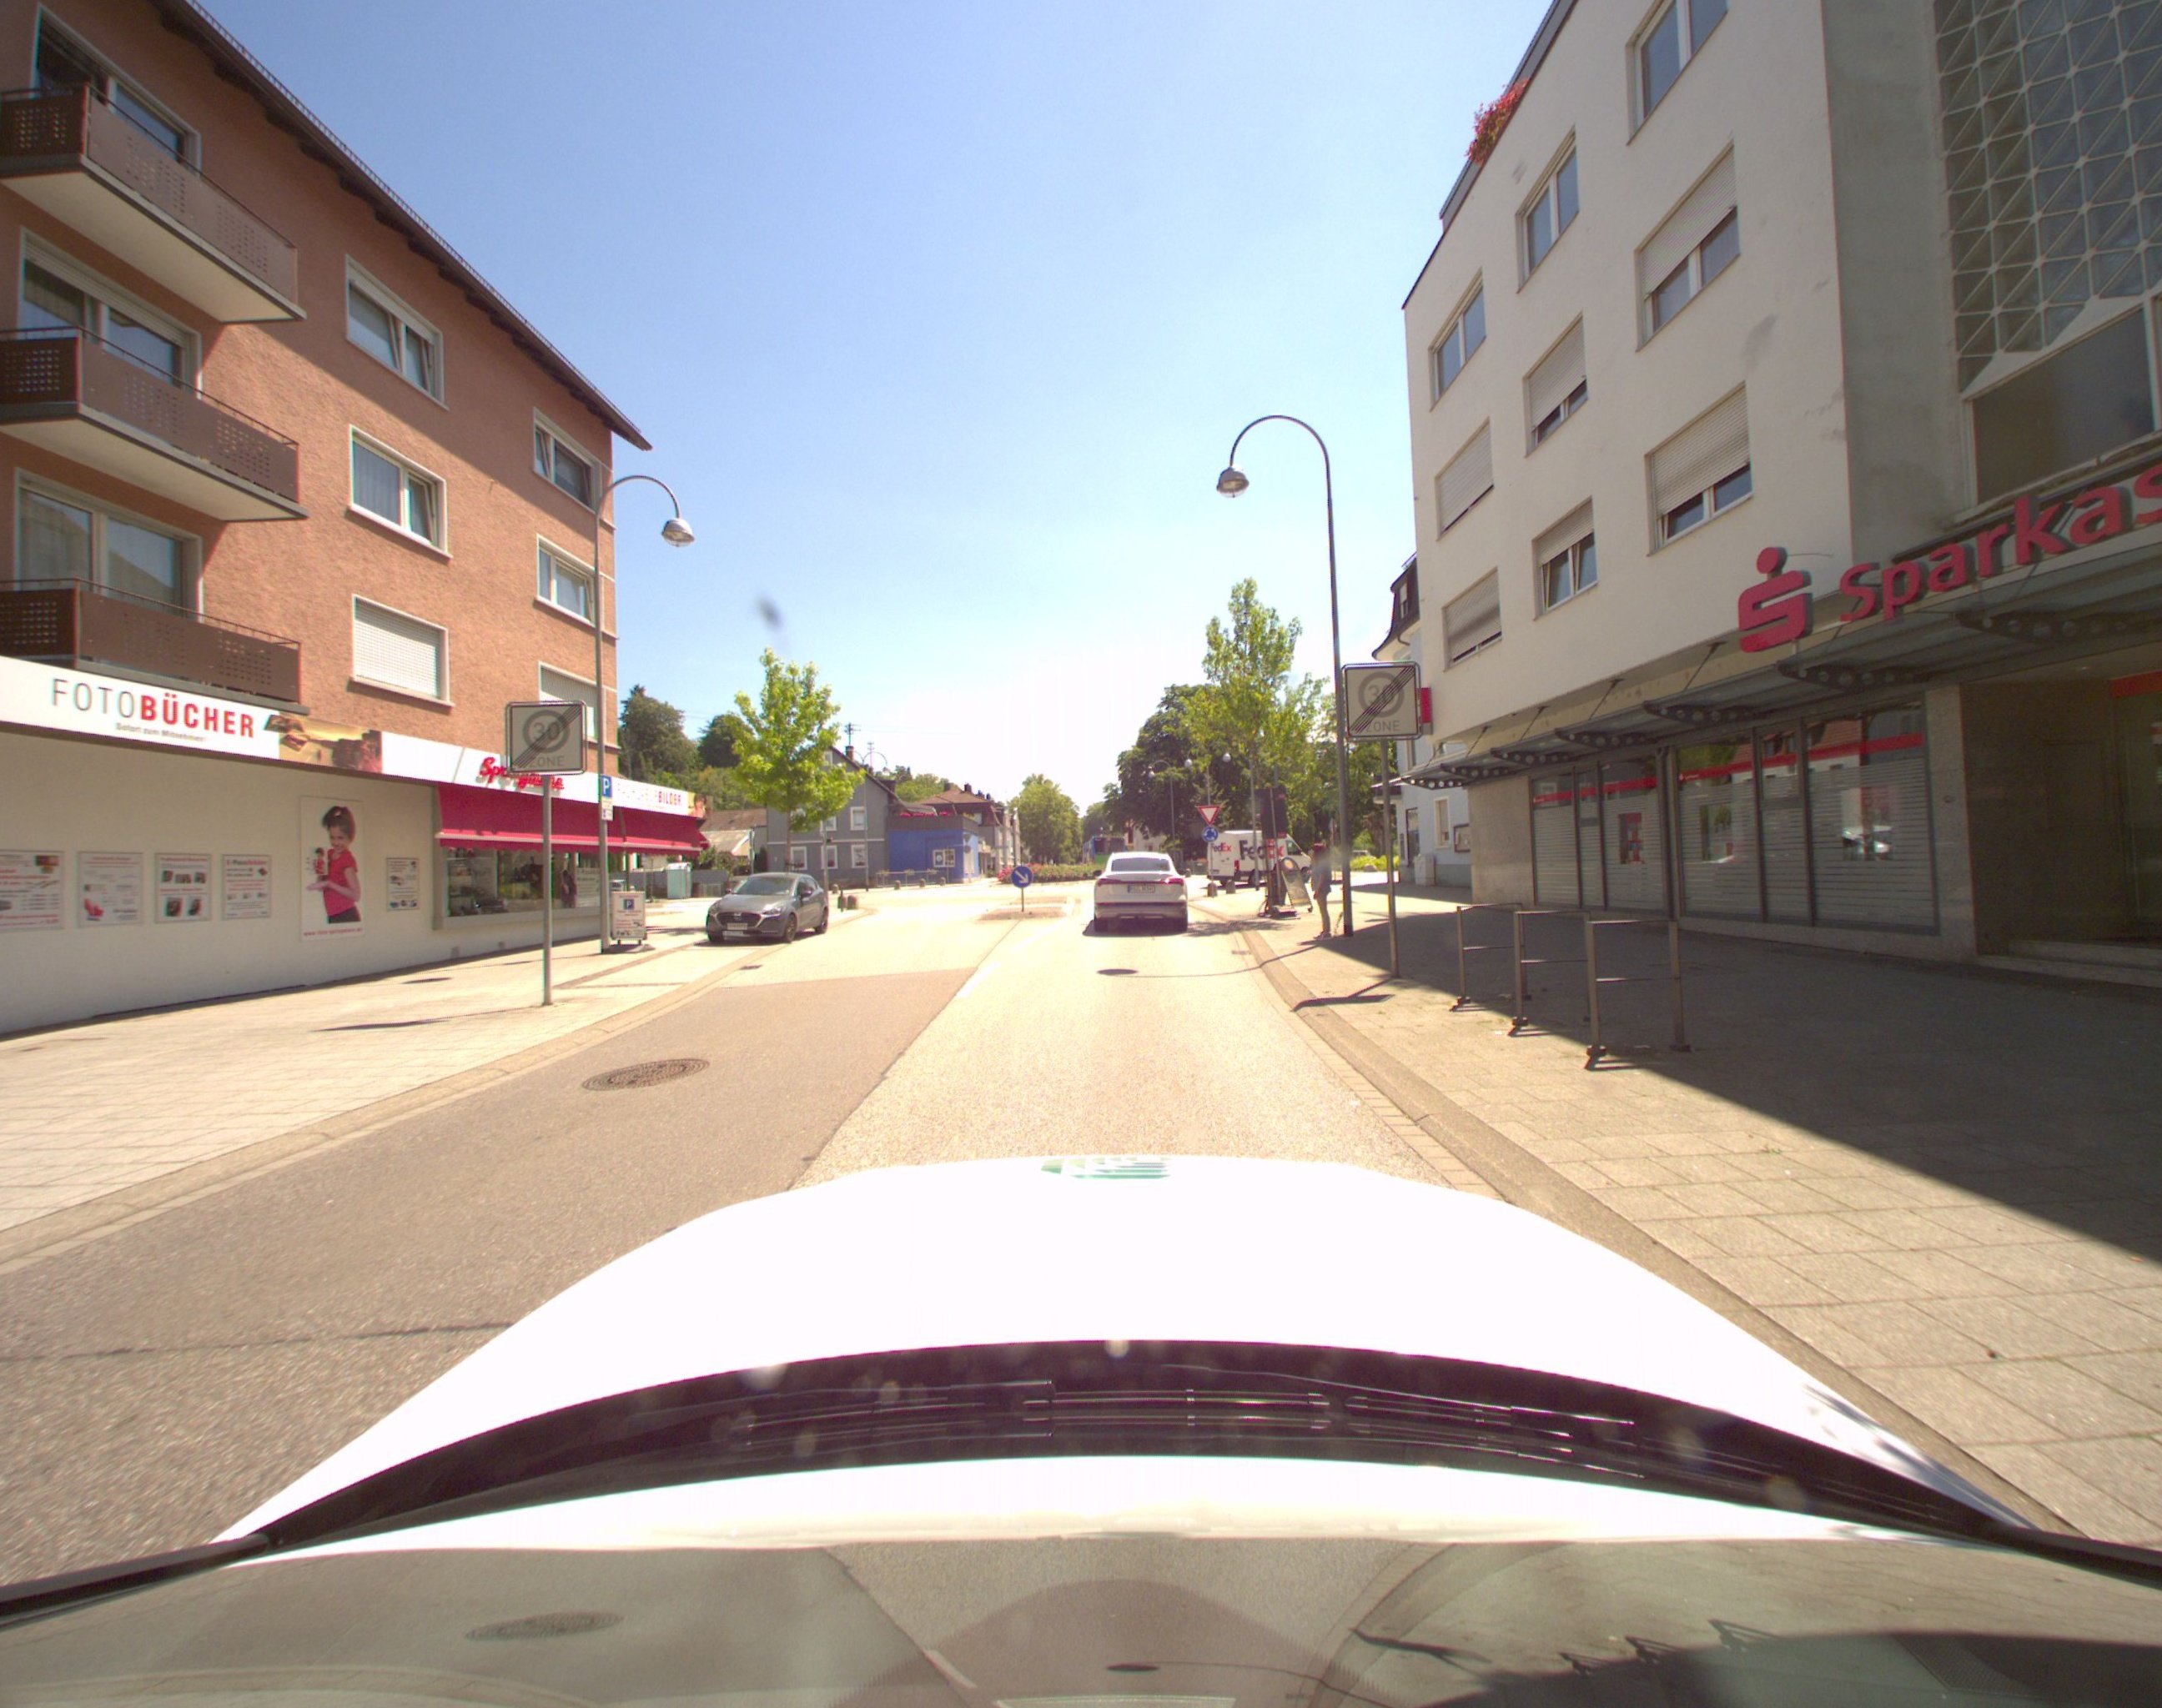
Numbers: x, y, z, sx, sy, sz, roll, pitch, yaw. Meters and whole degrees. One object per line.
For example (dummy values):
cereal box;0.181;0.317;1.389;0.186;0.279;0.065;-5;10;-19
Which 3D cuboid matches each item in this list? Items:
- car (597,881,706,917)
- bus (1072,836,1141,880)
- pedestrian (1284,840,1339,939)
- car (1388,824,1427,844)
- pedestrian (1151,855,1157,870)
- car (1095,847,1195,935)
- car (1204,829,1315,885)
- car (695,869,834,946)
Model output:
car;-21.166;2.201;40.290;4.433;1.457;1.759;-2;0;-16
bus;1.747;0.439;67.632;3.700;3.171;18.036;0;-1;-5
pedestrian;3.891;0.592;13.773;0.729;1.610;0.559;-2;-1;2
car;37.546;-2.268;93.735;3.949;2.013;2.012;-3;0;27
pedestrian;8.127;0.909;90.619;0.501;1.650;0.578;-2;-1;-4
car;1.298;0.723;17.853;1.891;1.662;4.411;-1;0;2
car;8.545;0.116;38.736;5.510;2.481;1.977;-2;-1;-37
car;-6.983;1.119;18.415;1.663;1.486;4.057;1;-1;-2
